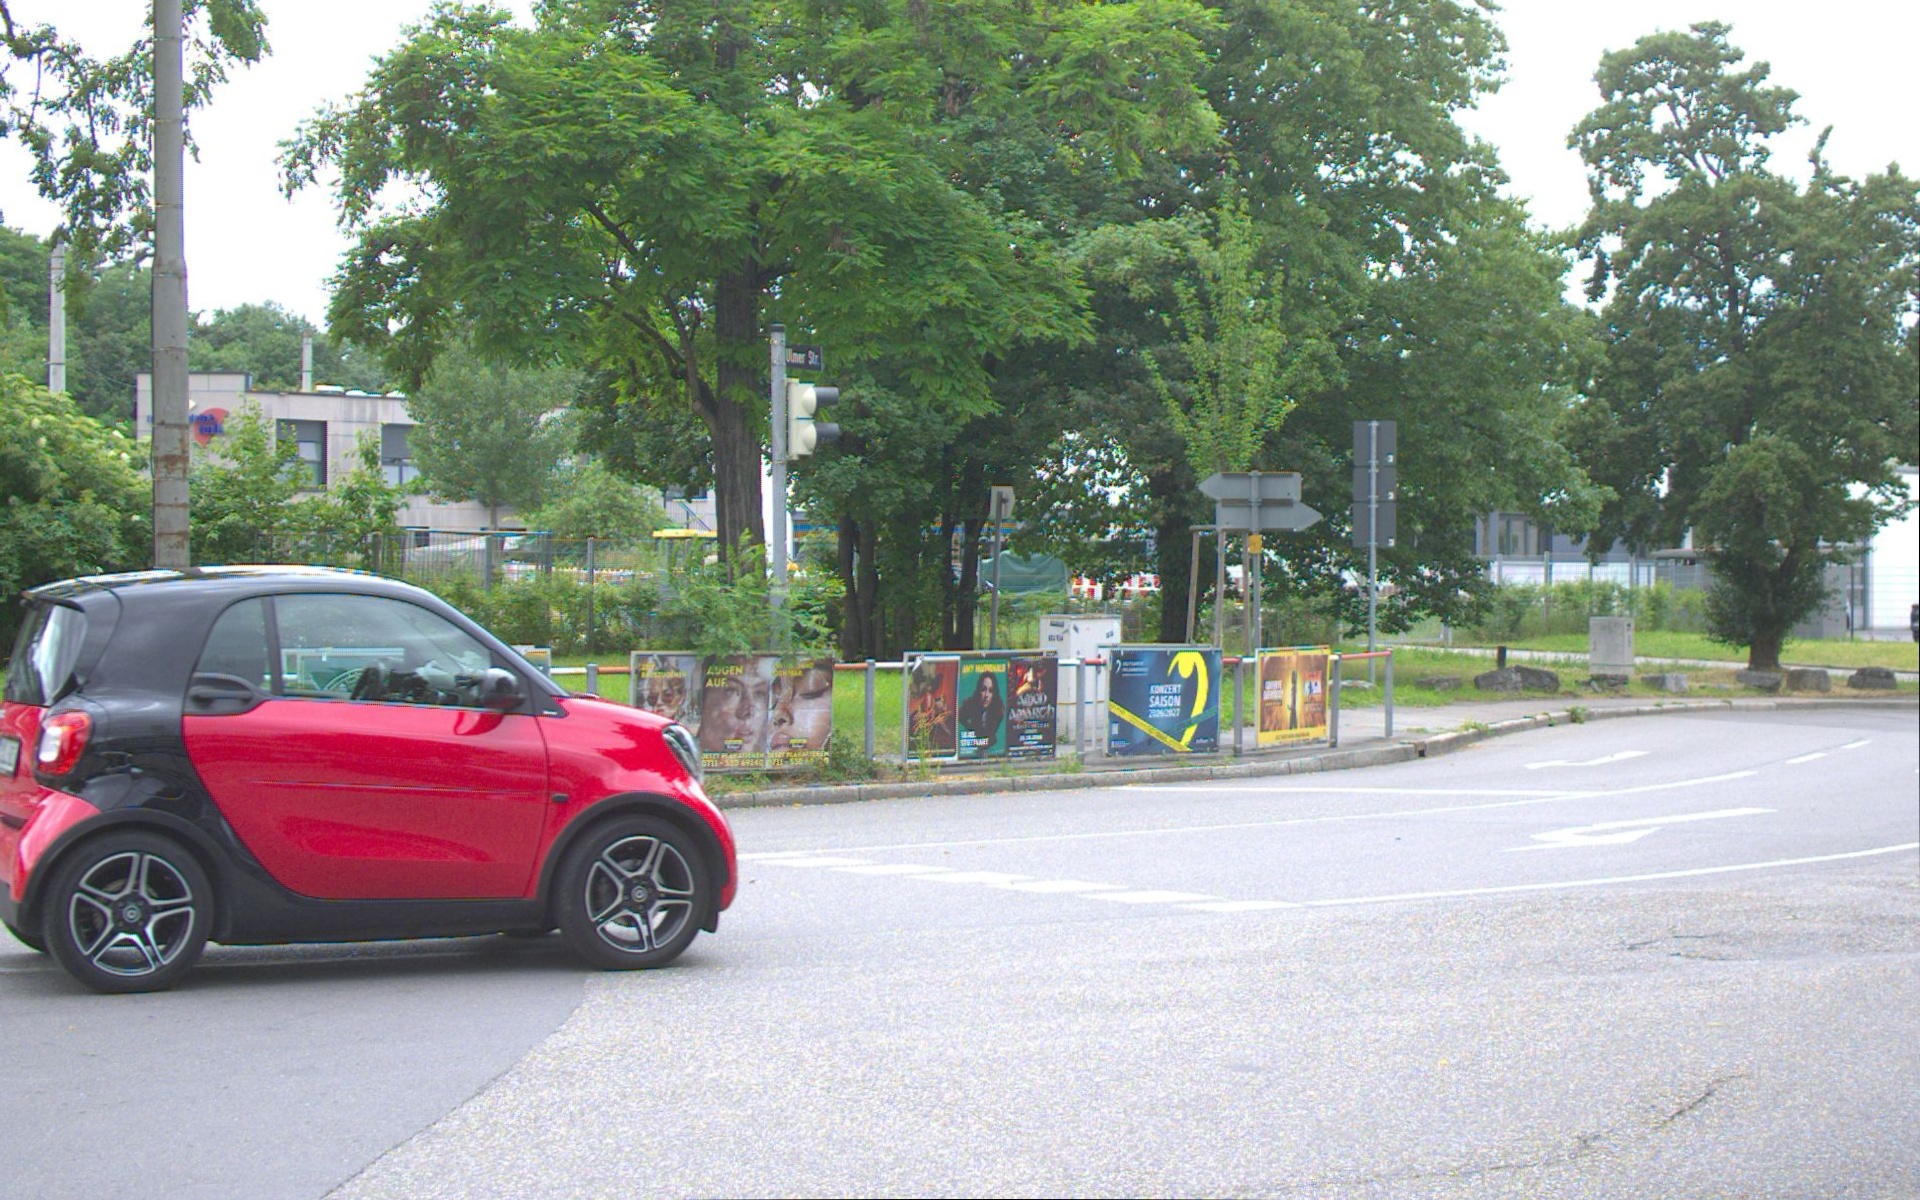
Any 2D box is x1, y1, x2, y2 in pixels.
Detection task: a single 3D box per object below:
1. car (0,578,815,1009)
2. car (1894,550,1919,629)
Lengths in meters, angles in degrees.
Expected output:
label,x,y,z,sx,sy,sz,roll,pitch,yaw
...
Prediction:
label,x,y,z,sx,sy,sz,roll,pitch,yaw
car,-2.269,0.658,13.216,3.010,1.459,1.718,0,1,-23
car,26.054,-0.248,89.495,1.968,2.007,4.210,2,1,36
